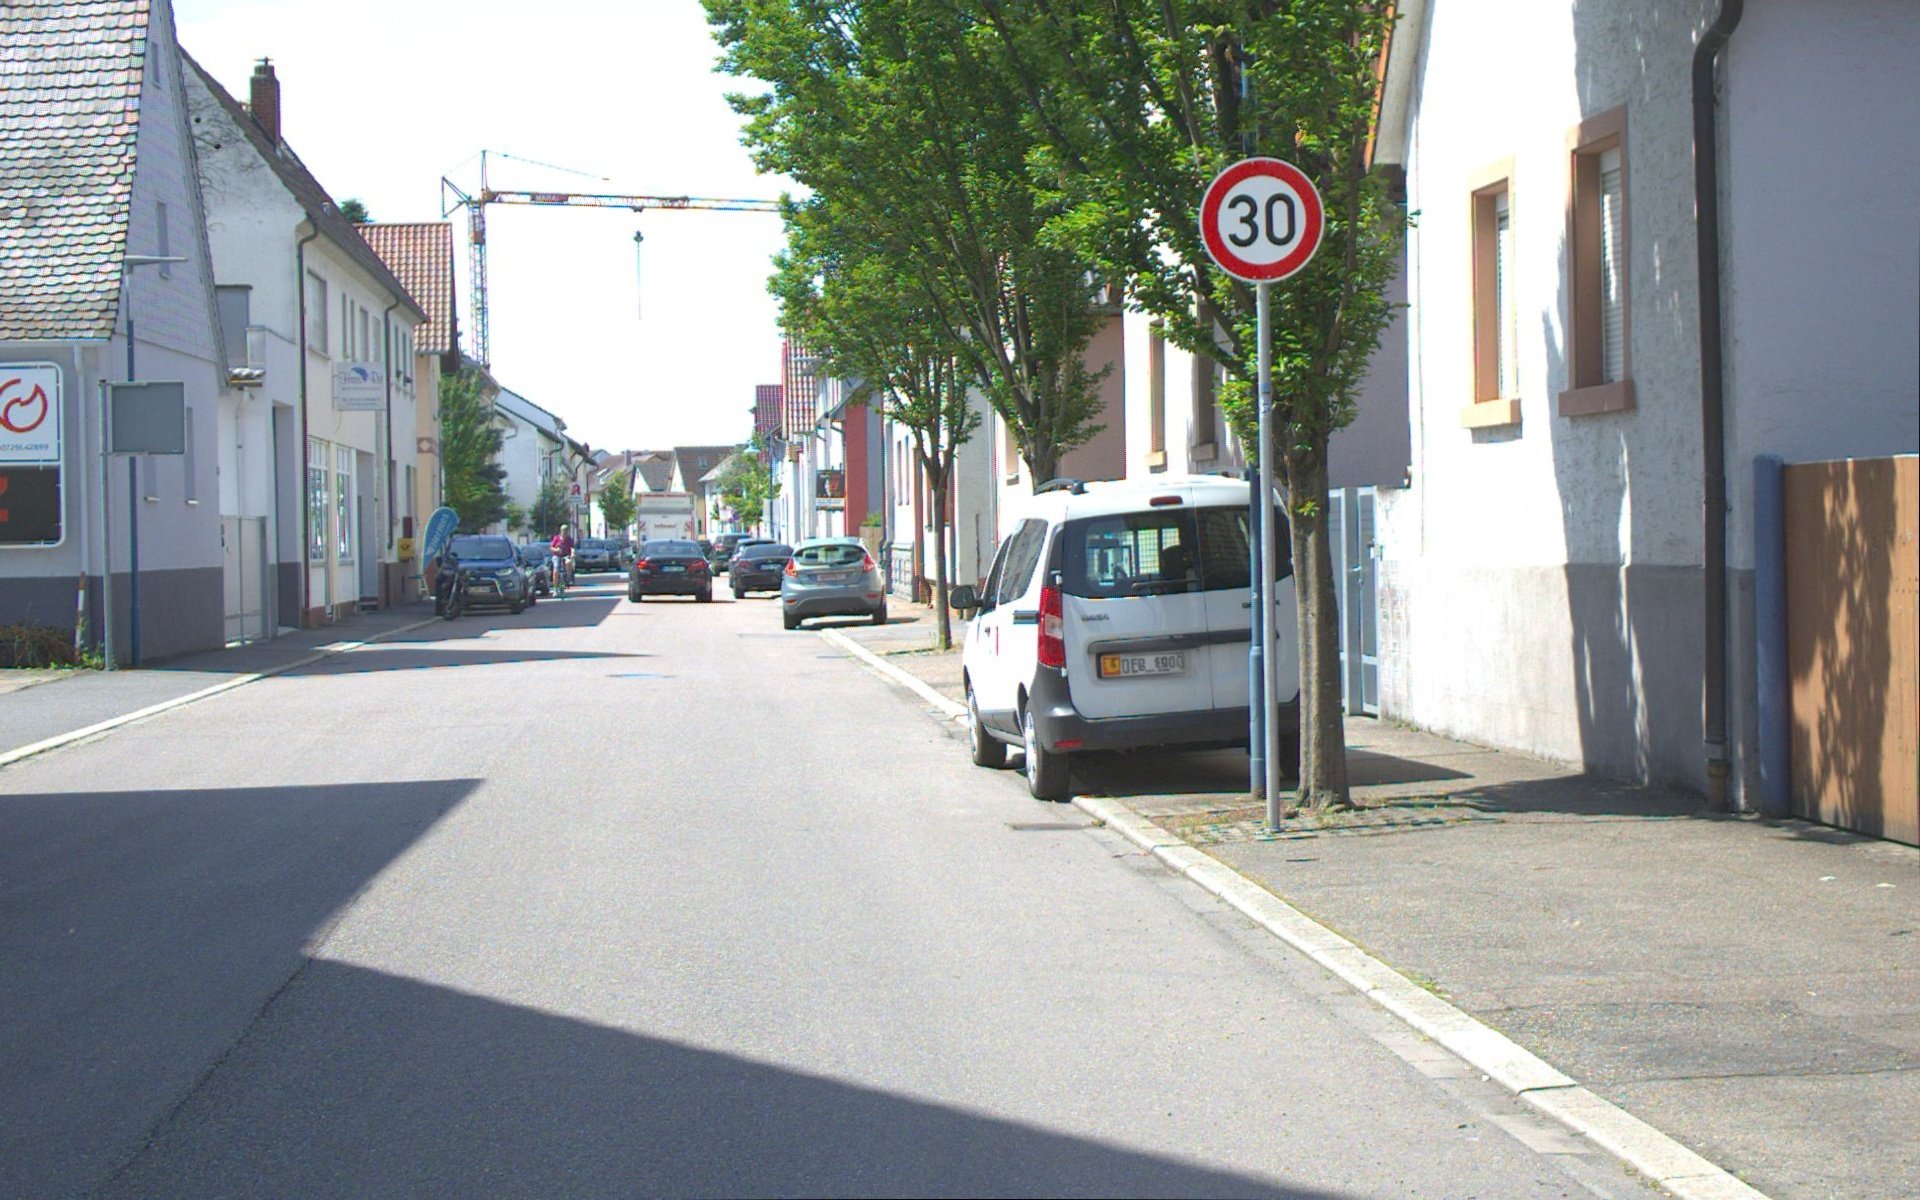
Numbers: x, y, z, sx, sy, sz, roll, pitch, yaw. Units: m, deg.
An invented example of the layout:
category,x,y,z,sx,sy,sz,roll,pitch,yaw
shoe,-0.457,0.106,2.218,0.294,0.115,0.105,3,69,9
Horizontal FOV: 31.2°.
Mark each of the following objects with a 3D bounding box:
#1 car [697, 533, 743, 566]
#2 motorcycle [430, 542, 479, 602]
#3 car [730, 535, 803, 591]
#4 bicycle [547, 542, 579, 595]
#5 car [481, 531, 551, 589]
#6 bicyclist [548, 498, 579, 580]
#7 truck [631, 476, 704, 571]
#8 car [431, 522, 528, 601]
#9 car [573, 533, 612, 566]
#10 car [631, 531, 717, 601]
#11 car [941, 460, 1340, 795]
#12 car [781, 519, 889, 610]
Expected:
category,x,y,z,sx,sy,sz,roll,pitch,yaw
car,-9.412,-2.002,134.752,1.719,1.264,4.157,-1,1,-5
motorcycle,-9.946,-0.555,67.675,0.846,1.166,2.470,1,1,-6
car,-4.860,-0.942,86.063,1.719,1.350,4.157,-1,1,-5
bicycle,-9.987,-0.805,86.536,0.751,1.303,2.686,1,1,-6
car,-12.416,-1.141,96.351,1.809,1.583,4.001,-1,1,-6
bicyclist,-9.980,-1.534,86.550,0.740,2.052,0.844,1,0,-6
truck,-13.439,-3.475,158.487,3.144,4.236,9.303,1,1,-4
car,-9.999,-0.826,71.726,1.809,1.583,4.001,-1,1,-6
car,-17.769,-2.457,166.296,1.809,1.583,4.001,-1,1,-5
car,-6.651,-0.821,80.235,1.902,1.558,4.477,-1,1,-4
car,1.002,0.107,21.204,1.719,1.784,4.145,-3,1,-6
car,-2.129,-0.627,57.765,1.719,1.456,4.157,-1,1,-3
